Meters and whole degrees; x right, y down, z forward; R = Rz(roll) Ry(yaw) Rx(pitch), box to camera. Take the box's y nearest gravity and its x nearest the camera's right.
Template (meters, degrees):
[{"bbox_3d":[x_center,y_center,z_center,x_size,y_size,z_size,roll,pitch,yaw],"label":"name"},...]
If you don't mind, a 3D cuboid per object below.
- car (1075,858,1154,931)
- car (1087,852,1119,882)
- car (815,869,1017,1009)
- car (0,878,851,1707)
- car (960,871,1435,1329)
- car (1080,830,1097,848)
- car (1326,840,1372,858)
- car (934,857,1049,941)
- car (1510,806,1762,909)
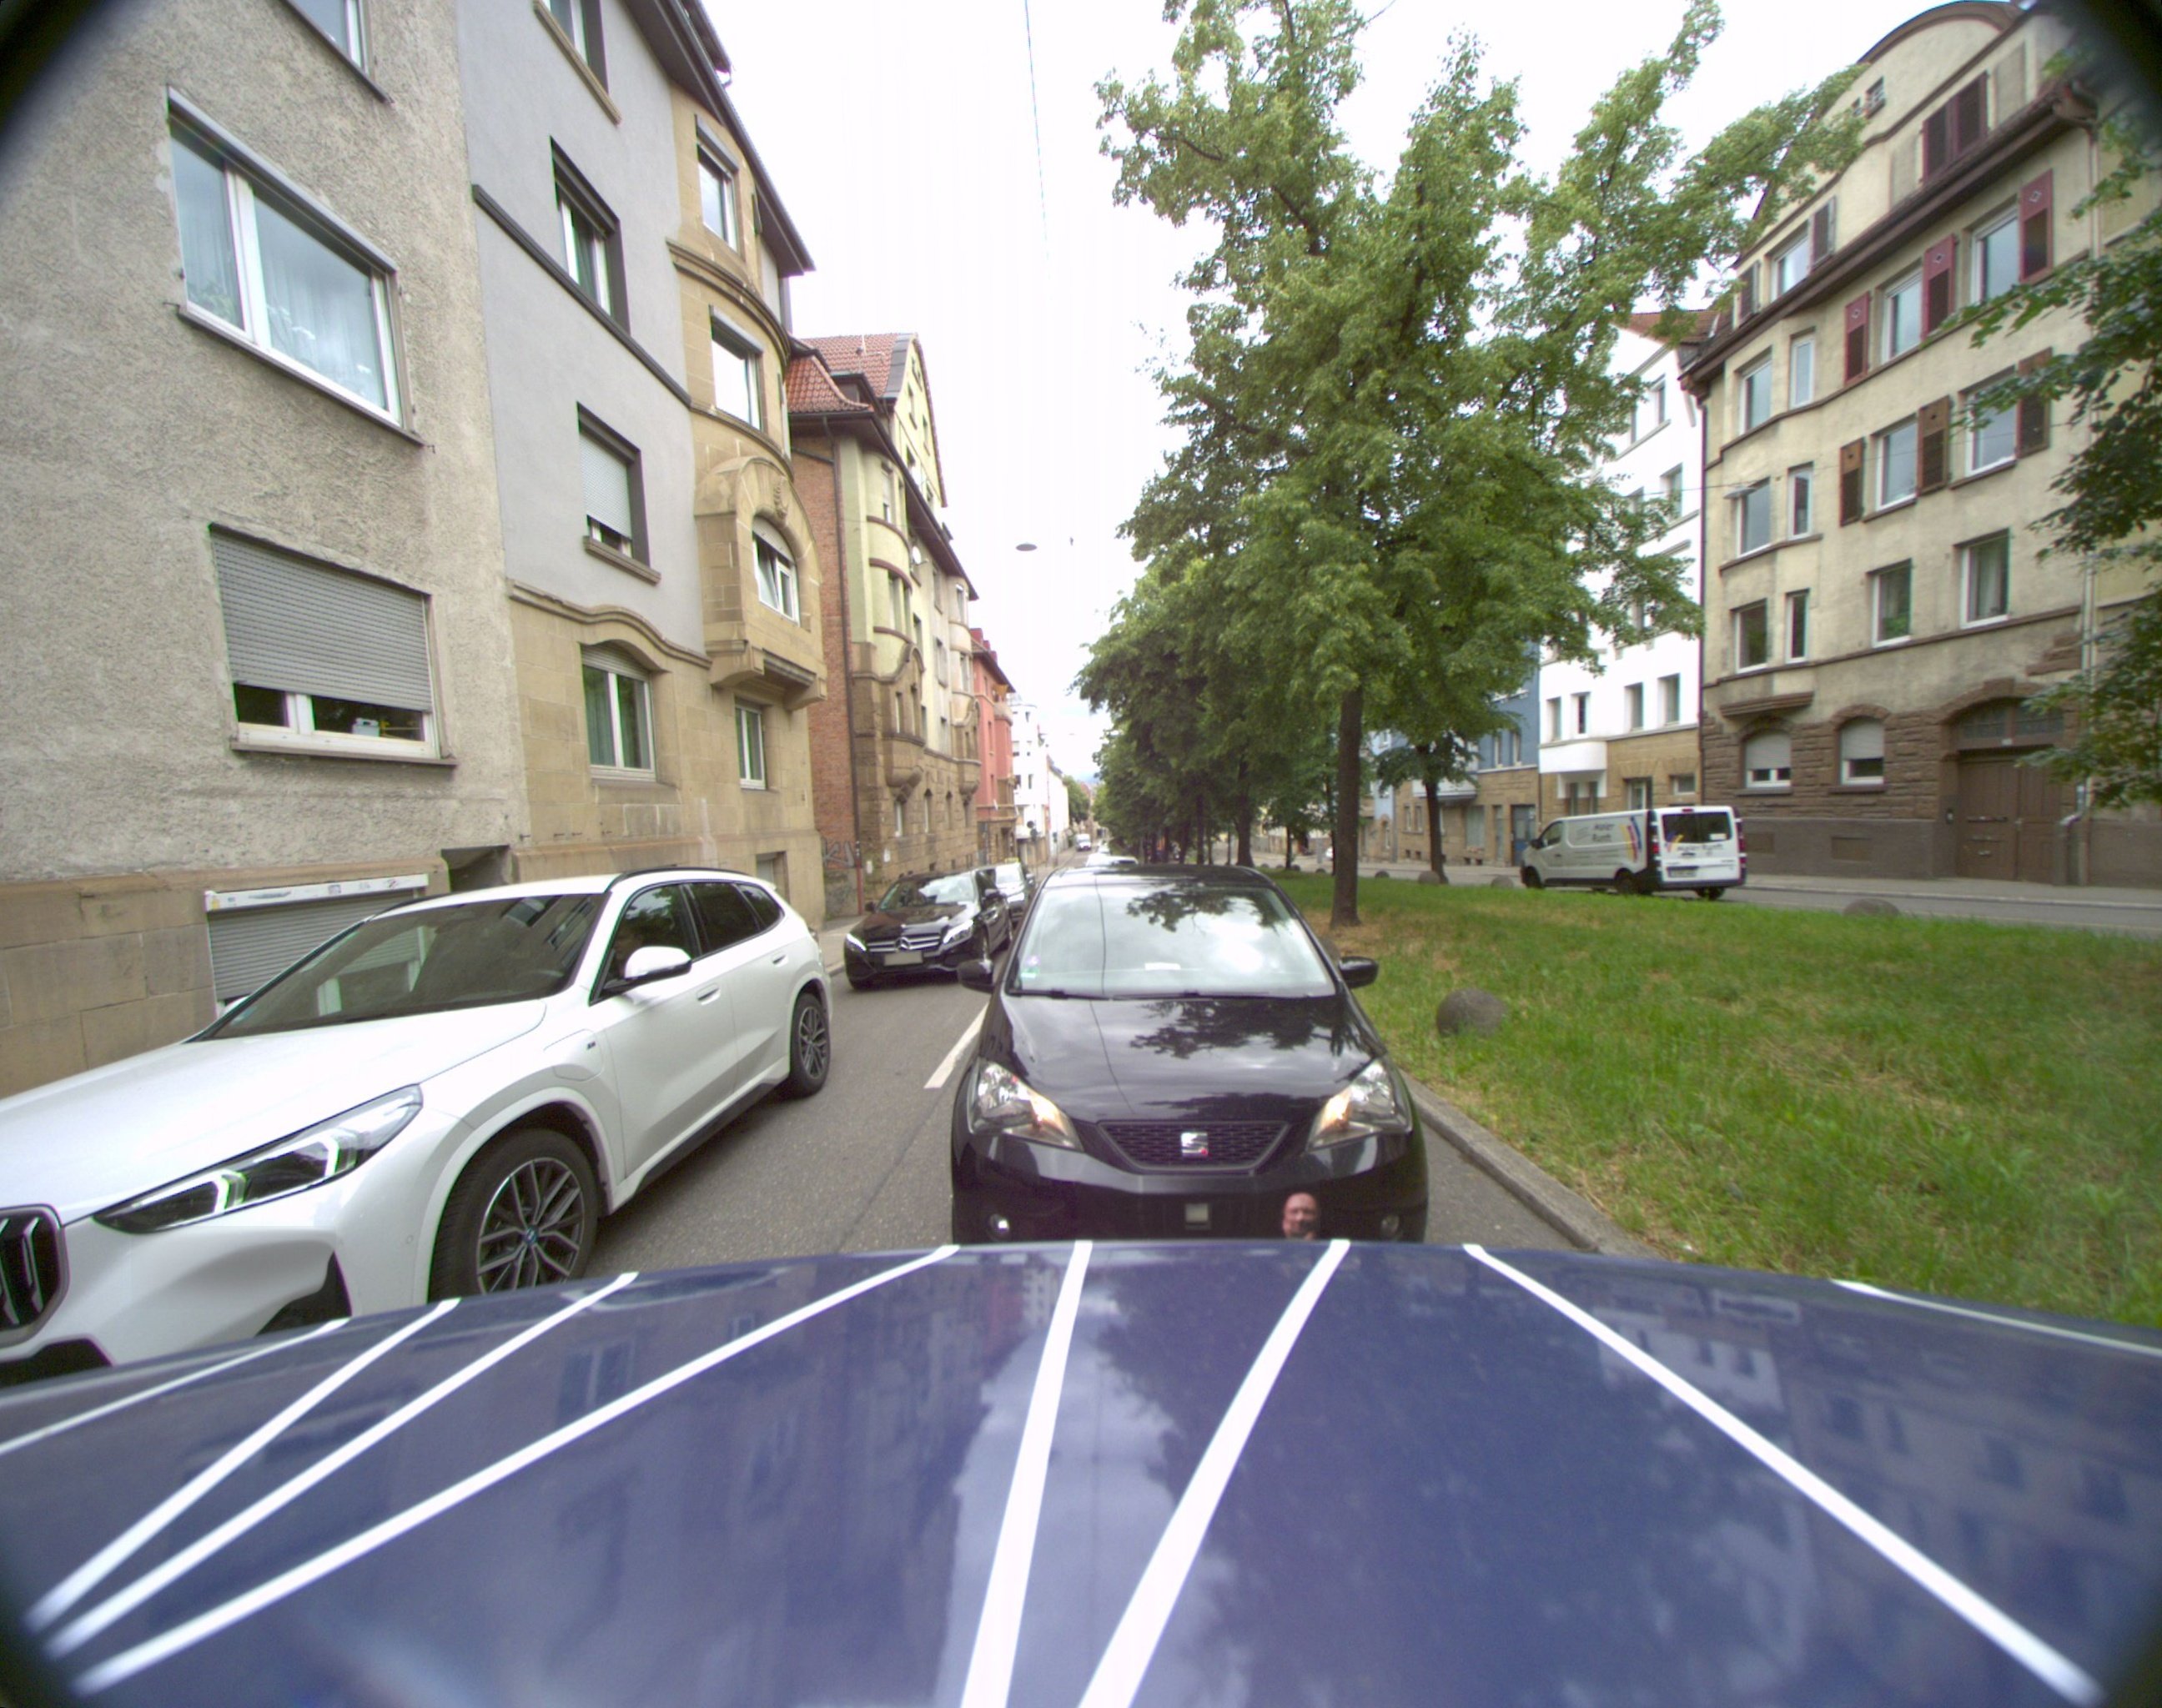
[{"bbox_3d":[0.749,0.880,18.211,1.664,1.456,3.580,-2,1,1],"label":"car"},{"bbox_3d":[1.175,0.680,41.785,1.607,1.492,3.737,-2,1,1],"label":"car"},{"bbox_3d":[-2.166,1.071,11.250,1.884,1.369,4.205,-6,1,1],"label":"car"},{"bbox_3d":[-2.811,1.081,3.730,1.859,1.547,4.350,-6,1,0],"label":"car"},{"bbox_3d":[0.418,0.886,4.244,1.611,1.457,3.296,0,1,1],"label":"car"},{"bbox_3d":[1.241,-2.552,131.062,2.716,2.879,6.452,-2,1,1],"label":"car"},{"bbox_3d":[22.216,-0.420,63.116,3.291,1.323,1.672,-2,1,10],"label":"car"},{"bbox_3d":[-1.959,0.947,17.994,1.936,1.506,4.303,-6,1,2],"label":"car"},{"bbox_3d":[12.363,0.068,17.537,1.998,1.933,5.307,-3,0,2],"label":"car"}]
